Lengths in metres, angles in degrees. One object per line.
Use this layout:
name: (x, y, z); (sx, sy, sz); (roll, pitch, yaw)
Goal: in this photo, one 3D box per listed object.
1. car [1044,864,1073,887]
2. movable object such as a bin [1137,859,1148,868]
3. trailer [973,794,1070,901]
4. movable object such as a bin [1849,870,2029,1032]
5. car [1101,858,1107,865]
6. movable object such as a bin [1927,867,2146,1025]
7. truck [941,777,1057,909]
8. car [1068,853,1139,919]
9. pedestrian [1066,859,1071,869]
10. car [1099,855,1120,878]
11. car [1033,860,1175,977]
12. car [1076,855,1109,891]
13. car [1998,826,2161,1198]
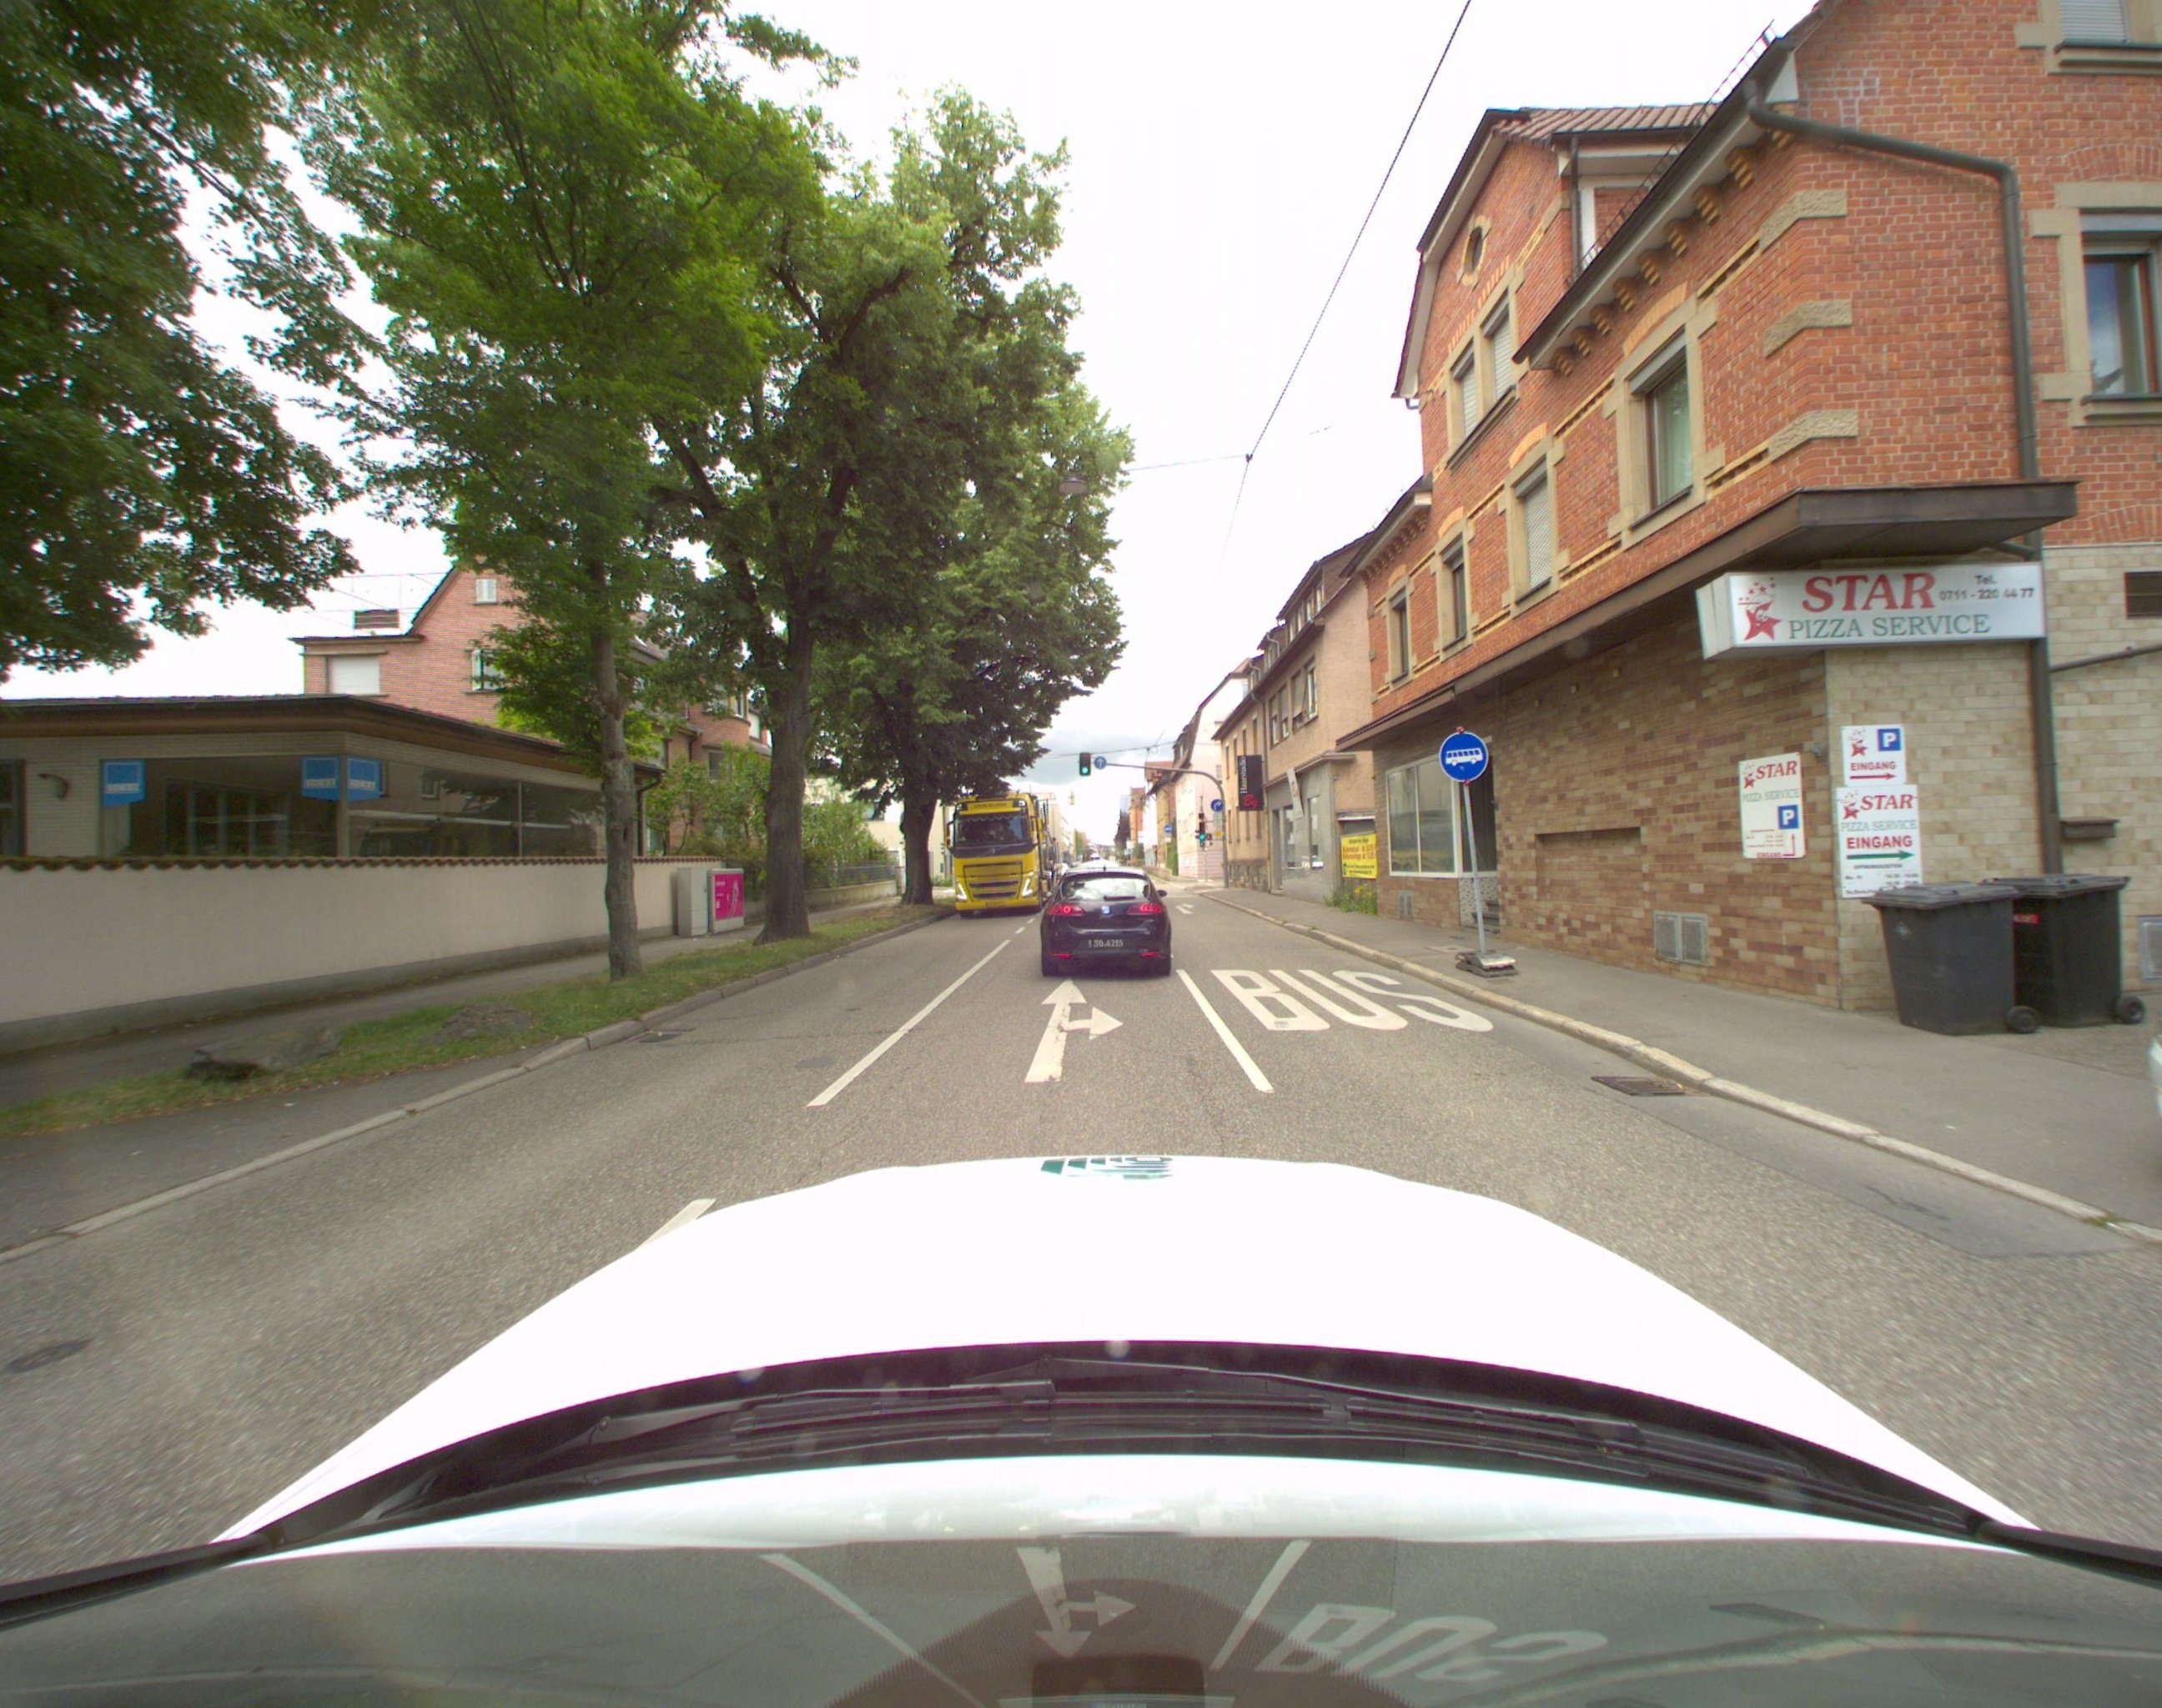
car: (-1.569, 1.495, 58.342); (1.760, 1.470, 4.228); (-5, -1, 2)
movable object such as a bin: (10.240, 1.564, 135.379); (1.811, 1.437, 1.994); (-1, -1, 2)
trailer: (-2.237, -0.126, 36.476); (2.847, 3.808, 14.395); (-1, -1, 2)
movable object such as a bin: (6.333, 0.690, 6.045); (0.604, 1.101, 0.623); (-4, -1, 1)
car: (6.353, 2.064, 224.376); (1.526, 1.693, 3.694); (-2, -1, 1)
movable object such as a bin: (7.068, 0.649, 6.067); (0.696, 1.059, 0.724); (-4, -1, 1)
truck: (-2.514, -0.261, 27.518); (2.833, 3.782, 7.672); (-1, -1, 2)
car: (0.629, 0.877, 23.461); (1.836, 1.693, 4.000); (-1, -1, 1)
pedestrian: (-2.188, 1.789, 143.518); (0.728, 1.729, 0.859); (-1, -1, 0)
car: (2.210, 0.979, 63.877); (1.526, 1.693, 3.693); (-1, -1, 1)
car: (0.337, 0.834, 12.127); (1.752, 1.442, 4.001); (-1, -1, 1)
car: (0.586, 0.933, 40.445); (1.526, 1.693, 3.693); (-1, -1, 1)
car: (6.338, 0.462, 3.021); (4.017, 1.470, 1.600); (-6, -1, -1)
